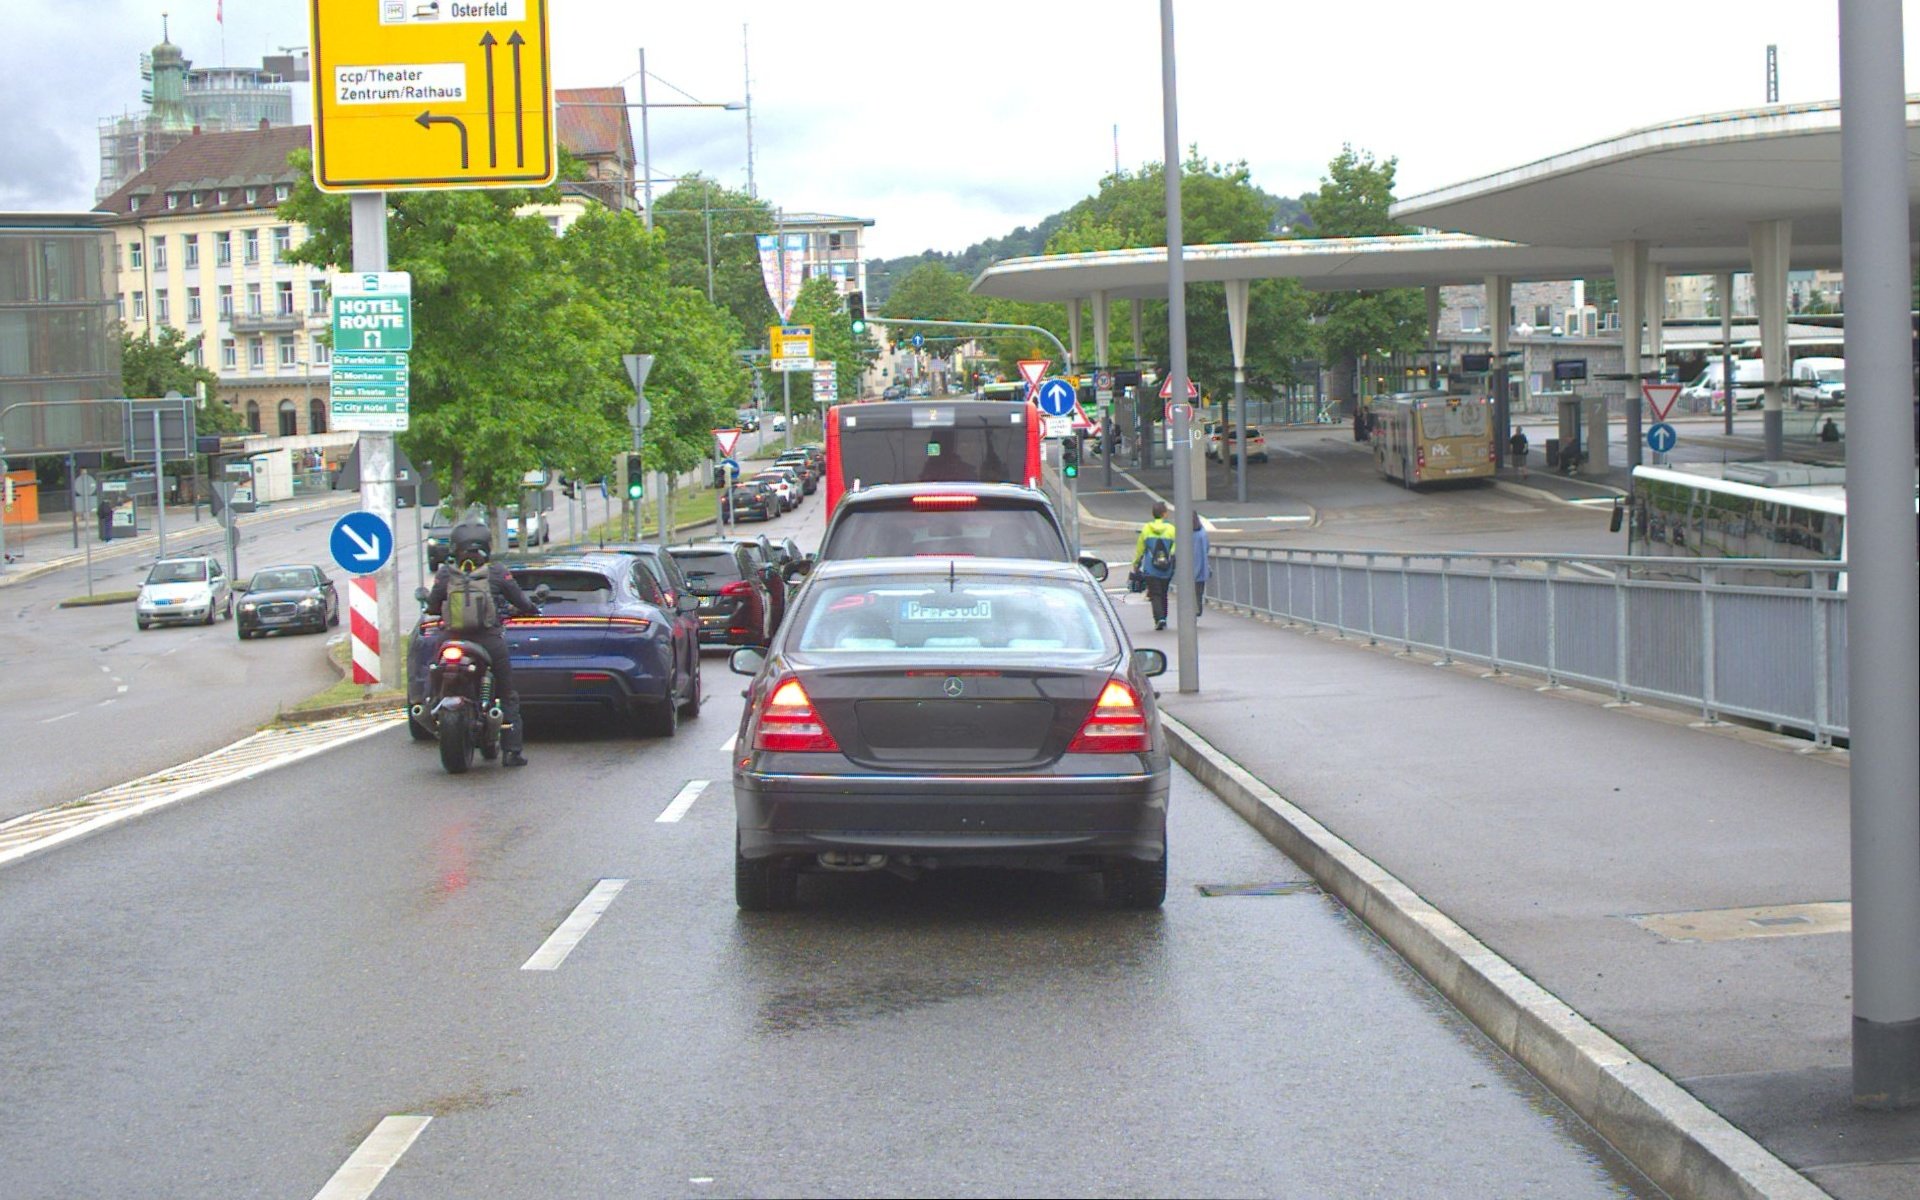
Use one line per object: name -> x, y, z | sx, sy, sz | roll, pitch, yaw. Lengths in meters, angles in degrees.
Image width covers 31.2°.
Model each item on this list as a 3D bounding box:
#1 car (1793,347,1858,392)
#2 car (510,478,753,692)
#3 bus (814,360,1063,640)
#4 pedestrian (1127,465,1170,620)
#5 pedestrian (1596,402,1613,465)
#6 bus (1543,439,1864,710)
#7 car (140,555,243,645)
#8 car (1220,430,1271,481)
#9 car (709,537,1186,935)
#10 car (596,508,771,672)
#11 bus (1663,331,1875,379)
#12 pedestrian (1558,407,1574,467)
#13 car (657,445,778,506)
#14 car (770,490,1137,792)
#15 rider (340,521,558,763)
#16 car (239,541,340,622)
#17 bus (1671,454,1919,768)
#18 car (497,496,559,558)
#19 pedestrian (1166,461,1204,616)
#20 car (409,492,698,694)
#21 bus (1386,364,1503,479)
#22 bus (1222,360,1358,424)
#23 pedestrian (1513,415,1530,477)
car -> 40.742, -10.828, 161.915 | 1.993, 2.006, 4.001 | -2, 3, -1
car -> -3.200, -0.205, 34.230 | 1.993, 1.999, 4.000 | 0, 2, 1
bus -> -0.308, -1.277, 44.409 | 2.827, 3.178, 10.310 | 0, 2, -1
pedestrian -> 2.477, -0.748, 45.126 | 0.489, 2.007, 0.469 | -2, 0, 2
pedestrian -> 21.154, -5.463, 112.869 | 0.424, 2.007, 0.483 | -2, 0, 2
bus -> 10.564, -0.509, 49.536 | 2.646, 3.224, 7.074 | -2, 5, -4
car -> -18.307, -0.027, 82.055 | 1.993, 2.007, 4.001 | -2, 1, -8
car -> 11.751, -5.946, 141.529 | 1.994, 2.006, 4.000 | -2, 2, 5
car -> -0.042, 0.470, 14.336 | 1.706, 1.415, 3.726 | -1, 1, 0
car -> -3.525, -0.180, 44.430 | 1.993, 1.999, 4.001 | 0, 2, -1
bus -> 40.857, -12.375, 173.673 | 10.167, 2.006, 2.170 | -2, 2, -3
pedestrian -> 20.497, -5.498, 116.307 | 0.424, 2.006, 0.483 | -2, 2, 2
car -> -8.634, -4.443, 122.544 | 3.987, 2.006, 2.000 | -2, 2, 4
car -> 0.062, 0.167, 21.242 | 1.827, 1.681, 3.999 | 0, 2, 6
rider -> -3.264, 0.232, 22.185 | 0.881, 1.467, 2.196 | 1, 2, 6
car -> -14.505, -0.433, 74.515 | 1.832, 1.521, 4.596 | -2, 3, -8
bus -> 11.074, -0.016, 42.430 | 2.645, 3.225, 7.074 | 0, 5, -4
car -> -14.802, -2.481, 117.743 | 1.993, 2.007, 4.203 | -2, 1, -7
pedestrian -> 2.942, -0.803, 44.963 | 0.424, 2.007, 0.483 | -2, 0, 2
car -> -3.055, -0.111, 26.562 | 1.760, 1.431, 4.000 | 0, 2, 0
bus -> 16.252, -5.948, 116.030 | 3.179, 3.588, 10.509 | -1, 2, 5
bus -> 18.659, -11.765, 194.707 | 7.197, 3.384, 3.083 | -2, 3, -4
pedestrian -> 18.408, -5.044, 112.722 | 0.424, 2.006, 0.483 | -2, 2, 2
